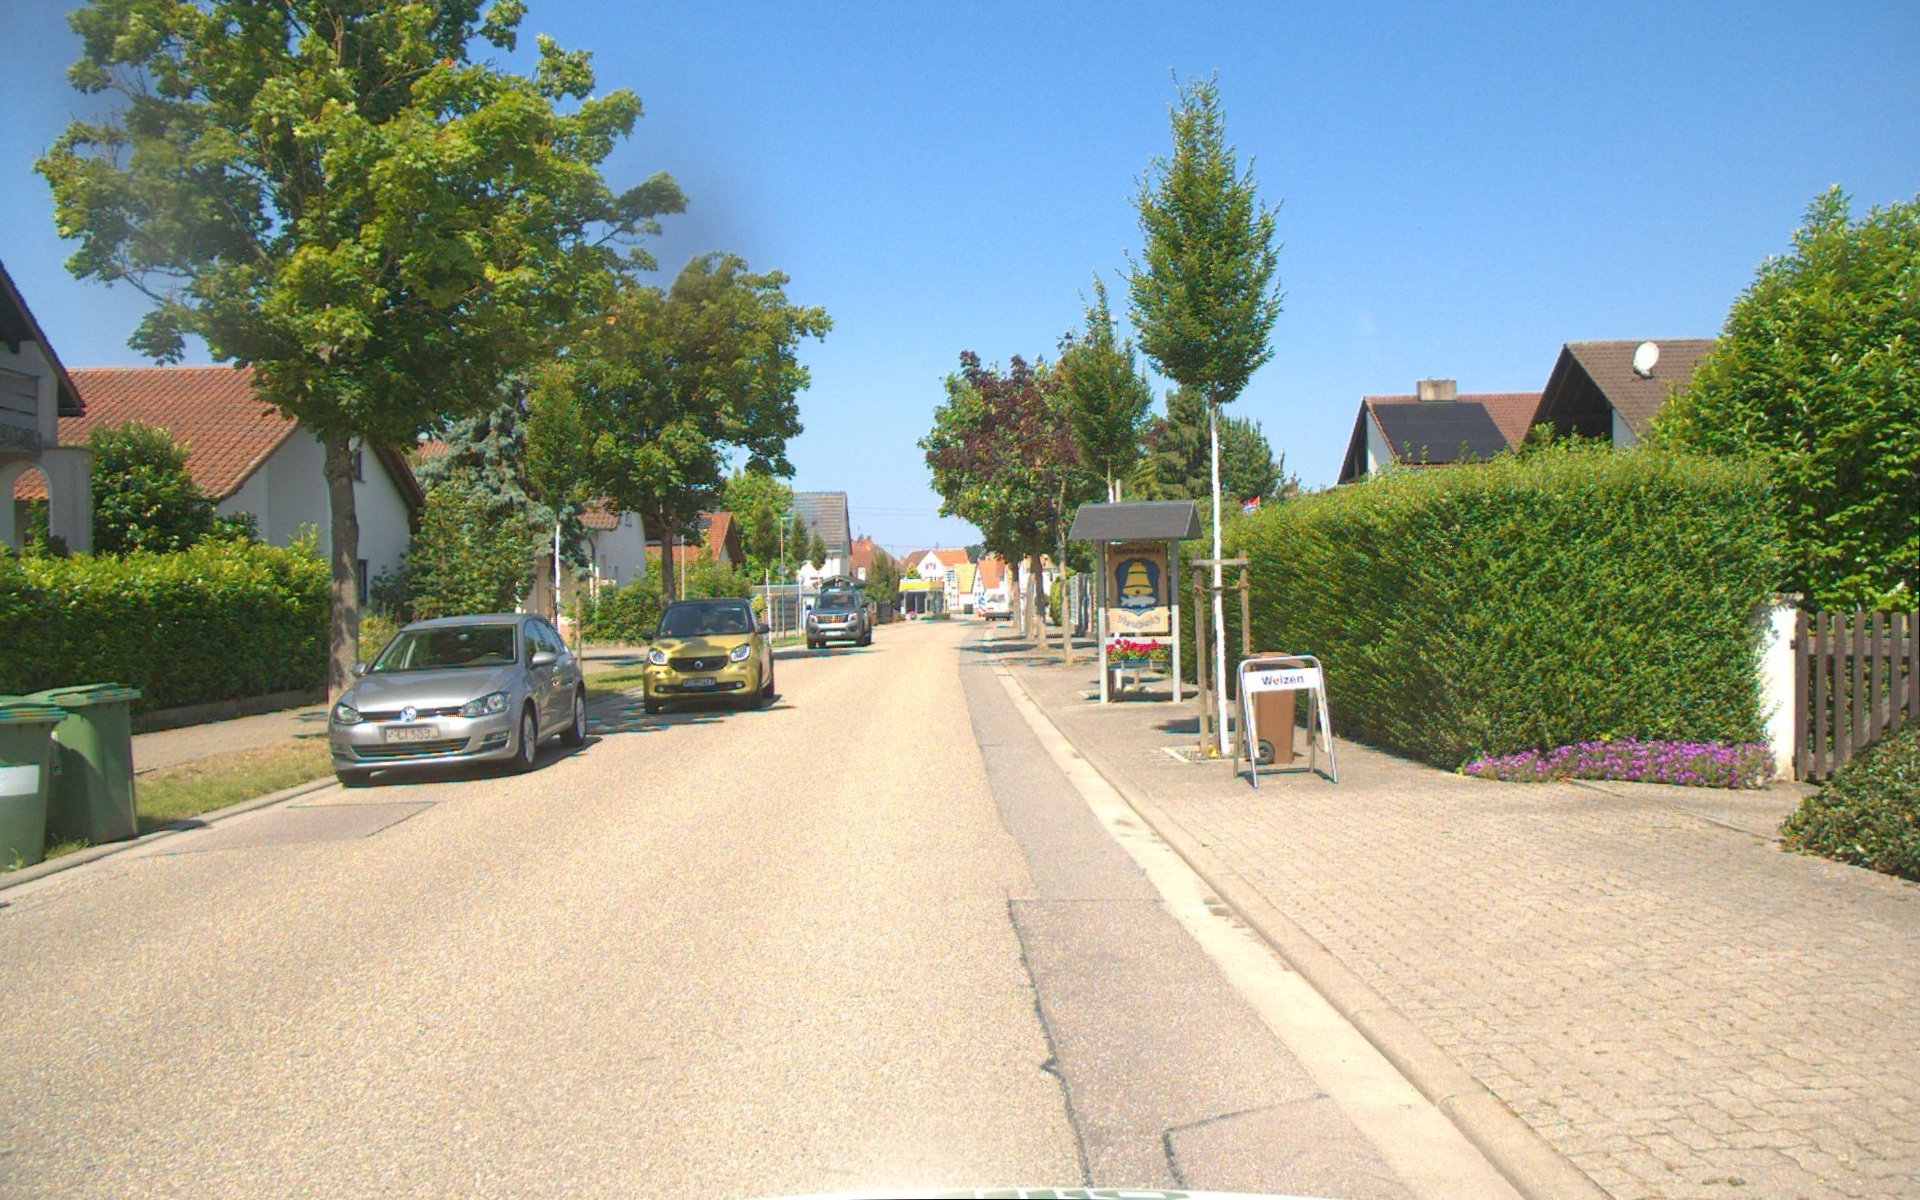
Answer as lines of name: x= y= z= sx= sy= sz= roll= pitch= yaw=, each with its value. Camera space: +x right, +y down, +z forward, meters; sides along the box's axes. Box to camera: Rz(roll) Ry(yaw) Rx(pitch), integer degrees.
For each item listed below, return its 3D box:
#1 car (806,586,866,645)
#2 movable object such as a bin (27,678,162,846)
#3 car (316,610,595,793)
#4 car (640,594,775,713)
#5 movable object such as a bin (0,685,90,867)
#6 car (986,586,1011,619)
car: x=-3.999 y=0.485 z=53.799 sx=1.799 sy=1.783 sz=3.793 roll=-2 pitch=0 yaw=-3
movable object such as a bin: x=-5.996 y=1.108 z=11.473 sx=0.562 sy=1.097 sz=0.599 roll=-1 pitch=0 yaw=12
car: x=-4.796 y=0.885 z=16.304 sx=1.614 sy=1.448 sz=4.077 roll=-4 pitch=0 yaw=-3
car: x=-3.621 y=0.725 z=24.195 sx=1.633 sy=1.550 sz=3.439 roll=-2 pitch=0 yaw=-4
movable object such as a bin: x=-6.184 y=1.121 z=10.735 sx=0.699 sy=1.097 sz=0.639 roll=-1 pitch=0 yaw=24
car: x=3.092 y=0.188 z=132.220 sx=1.701 sy=2.474 sz=4.376 roll=-2 pitch=0 yaw=4
